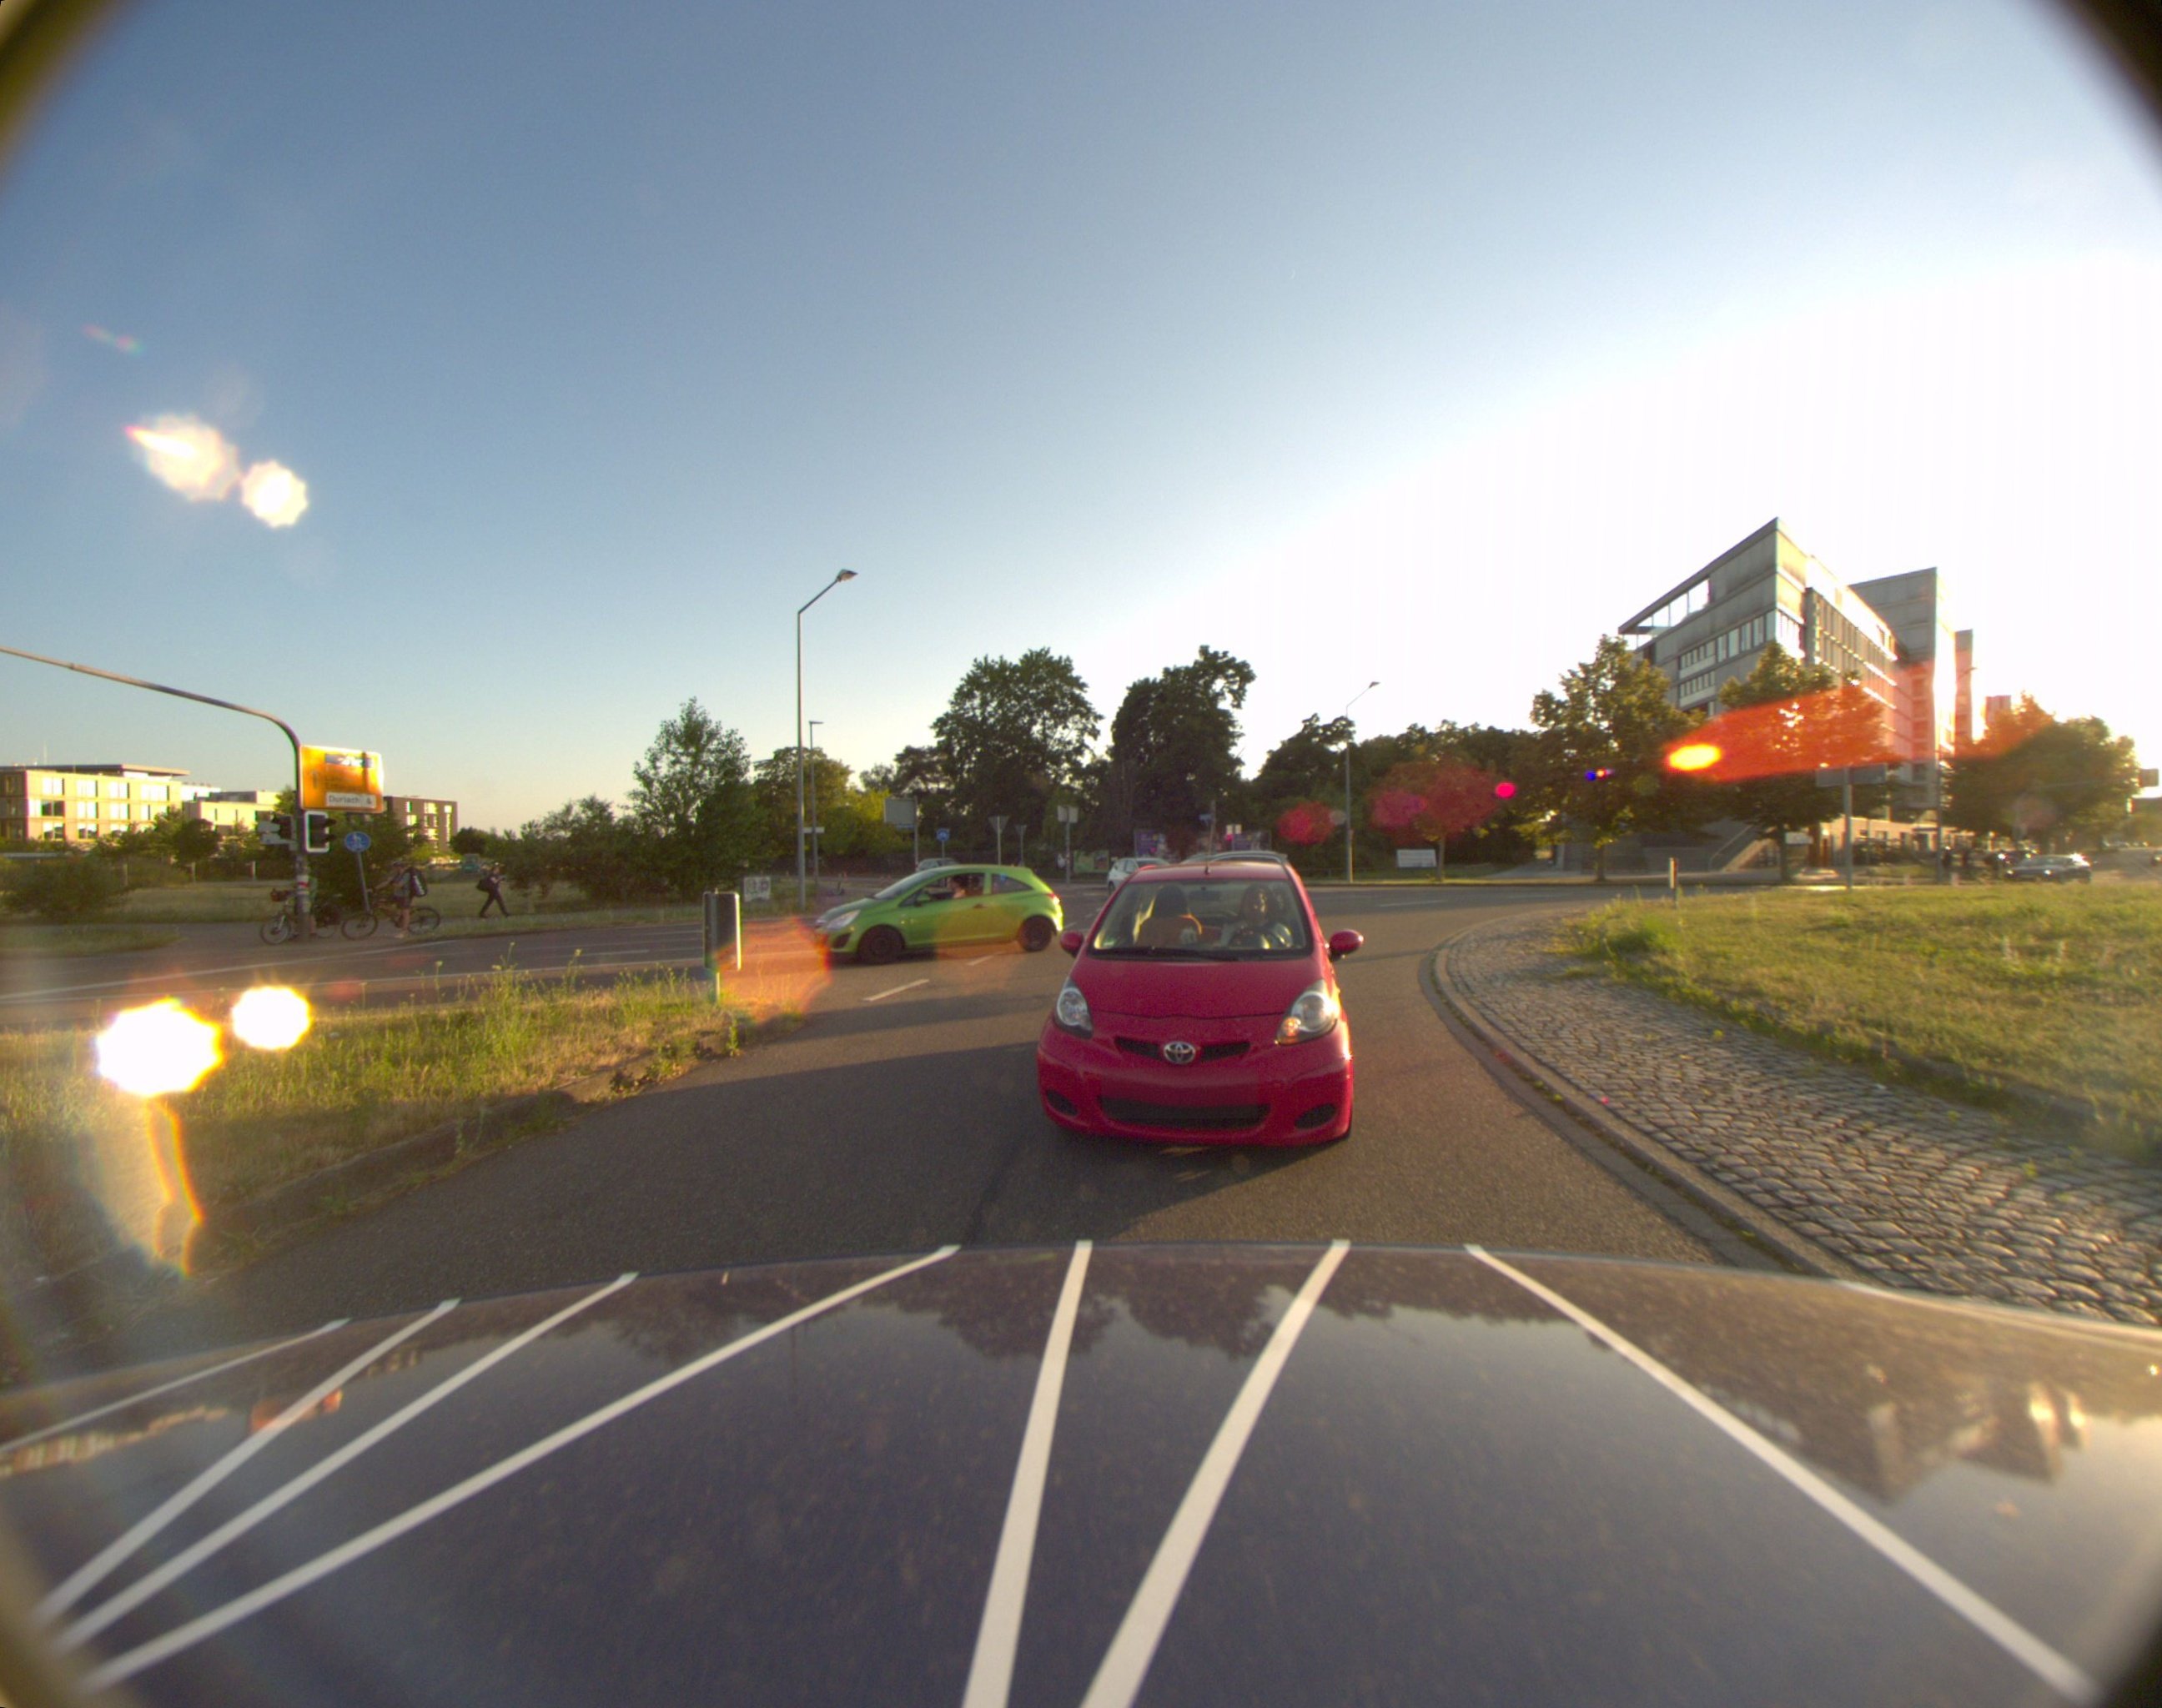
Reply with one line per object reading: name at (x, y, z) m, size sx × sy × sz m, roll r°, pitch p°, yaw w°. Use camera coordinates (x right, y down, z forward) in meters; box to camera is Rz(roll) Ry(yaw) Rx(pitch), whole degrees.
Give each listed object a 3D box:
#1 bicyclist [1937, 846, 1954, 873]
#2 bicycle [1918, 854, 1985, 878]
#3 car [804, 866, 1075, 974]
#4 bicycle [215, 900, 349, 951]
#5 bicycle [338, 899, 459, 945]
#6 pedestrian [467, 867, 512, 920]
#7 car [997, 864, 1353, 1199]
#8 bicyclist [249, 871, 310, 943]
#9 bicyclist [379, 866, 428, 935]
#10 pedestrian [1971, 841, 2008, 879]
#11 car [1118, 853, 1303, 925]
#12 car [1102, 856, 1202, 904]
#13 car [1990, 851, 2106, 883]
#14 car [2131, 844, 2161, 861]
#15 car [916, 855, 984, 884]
bicyclist at (46.980, 0.307, 41.279) m, size 0.693 × 1.432 × 0.610 m, roll -2°, pitch 1°, yaw -42°
bicycle at (47.093, 0.626, 41.137) m, size 0.744 × 1.237 × 2.341 m, roll -2°, pitch 1°, yaw -41°
car at (-2.280, 0.959, 12.408) m, size 4.005 × 1.412 × 1.686 m, roll -1°, pitch 1°, yaw -27°
bicycle at (-19.265, 1.697, 18.408) m, size 0.708 × 0.958 × 2.109 m, roll -1°, pitch 2°, yaw 14°
bicycle at (-17.154, 1.679, 19.169) m, size 0.708 × 0.957 × 2.149 m, roll -1°, pitch 0°, yaw 26°
pedestrian at (-18.228, 1.200, 23.448) m, size 0.993 × 1.581 × 0.924 m, roll -1°, pitch 1°, yaw -33°
car at (0.954, 0.838, 5.556) m, size 1.686 × 1.412 × 4.005 m, roll -1°, pitch 0°, yaw 16°
bicyclist at (-19.323, 1.256, 18.321) m, size 0.724 × 1.680 × 0.690 m, roll -1°, pitch 1°, yaw 12°
bicyclist at (-17.138, 1.164, 19.229) m, size 0.723 × 1.680 × 0.690 m, roll -1°, pitch 1°, yaw 28°
pedestrian at (49.207, 0.310, 41.160) m, size 0.776 × 2.002 × 0.998 m, roll -2°, pitch 1°, yaw -11°
car at (3.281, 0.804, 19.143) m, size 4.335 × 1.568 × 1.730 m, roll -1°, pitch 1°, yaw -24°
car at (2.481, 0.878, 27.692) m, size 2.002 × 1.597 × 4.191 m, roll -1°, pitch 0°, yaw -21°
car at (45.729, 0.594, 35.964) m, size 4.127 × 1.371 × 1.749 m, roll -1°, pitch 0°, yaw -12°
car at (94.242, -0.142, 66.822) m, size 4.008 × 1.444 × 1.994 m, roll -1°, pitch 1°, yaw -39°
car at (-7.667, 0.863, 44.154) m, size 2.004 × 1.588 × 4.302 m, roll -1°, pitch 1°, yaw -39°
